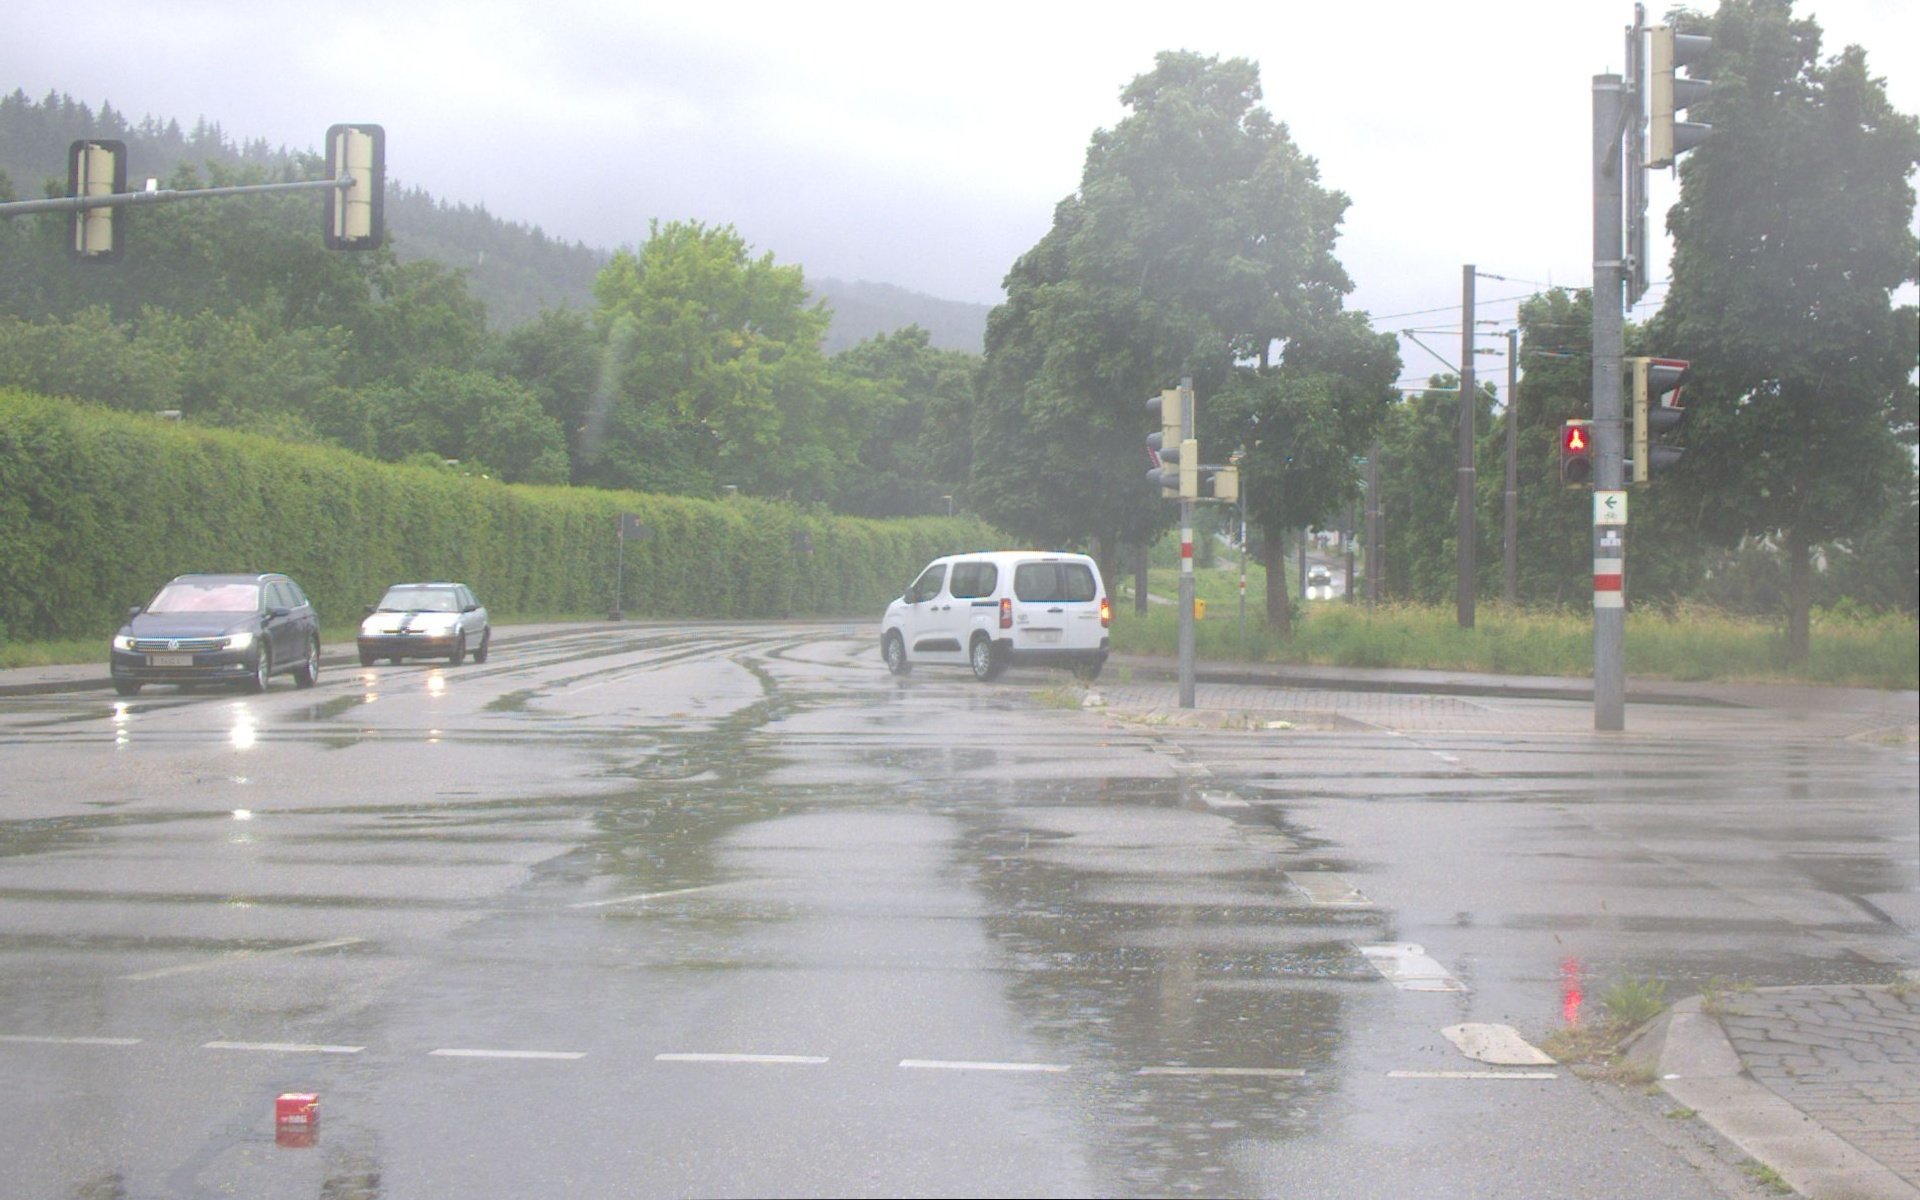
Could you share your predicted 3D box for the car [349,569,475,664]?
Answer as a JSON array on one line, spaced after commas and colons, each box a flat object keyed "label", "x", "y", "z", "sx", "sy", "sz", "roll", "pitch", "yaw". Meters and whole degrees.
[{"label": "car", "x": -9.142, "y": 0.249, "z": 57.539, "sx": 1.558, "sy": 1.476, "sz": 3.361, "roll": -1, "pitch": 1, "yaw": 0}]

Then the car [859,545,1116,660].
[{"label": "car", "x": 0.336, "y": -0.006, "z": 48.887, "sx": 1.816, "sy": 1.548, "sz": 4.349, "roll": 0, "pitch": 1, "yaw": -28}]

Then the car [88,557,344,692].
[{"label": "car", "x": -9.354, "y": 0.269, "z": 43.624, "sx": 1.879, "sy": 1.568, "sz": 4.644, "roll": -2, "pitch": 1, "yaw": 5}]
